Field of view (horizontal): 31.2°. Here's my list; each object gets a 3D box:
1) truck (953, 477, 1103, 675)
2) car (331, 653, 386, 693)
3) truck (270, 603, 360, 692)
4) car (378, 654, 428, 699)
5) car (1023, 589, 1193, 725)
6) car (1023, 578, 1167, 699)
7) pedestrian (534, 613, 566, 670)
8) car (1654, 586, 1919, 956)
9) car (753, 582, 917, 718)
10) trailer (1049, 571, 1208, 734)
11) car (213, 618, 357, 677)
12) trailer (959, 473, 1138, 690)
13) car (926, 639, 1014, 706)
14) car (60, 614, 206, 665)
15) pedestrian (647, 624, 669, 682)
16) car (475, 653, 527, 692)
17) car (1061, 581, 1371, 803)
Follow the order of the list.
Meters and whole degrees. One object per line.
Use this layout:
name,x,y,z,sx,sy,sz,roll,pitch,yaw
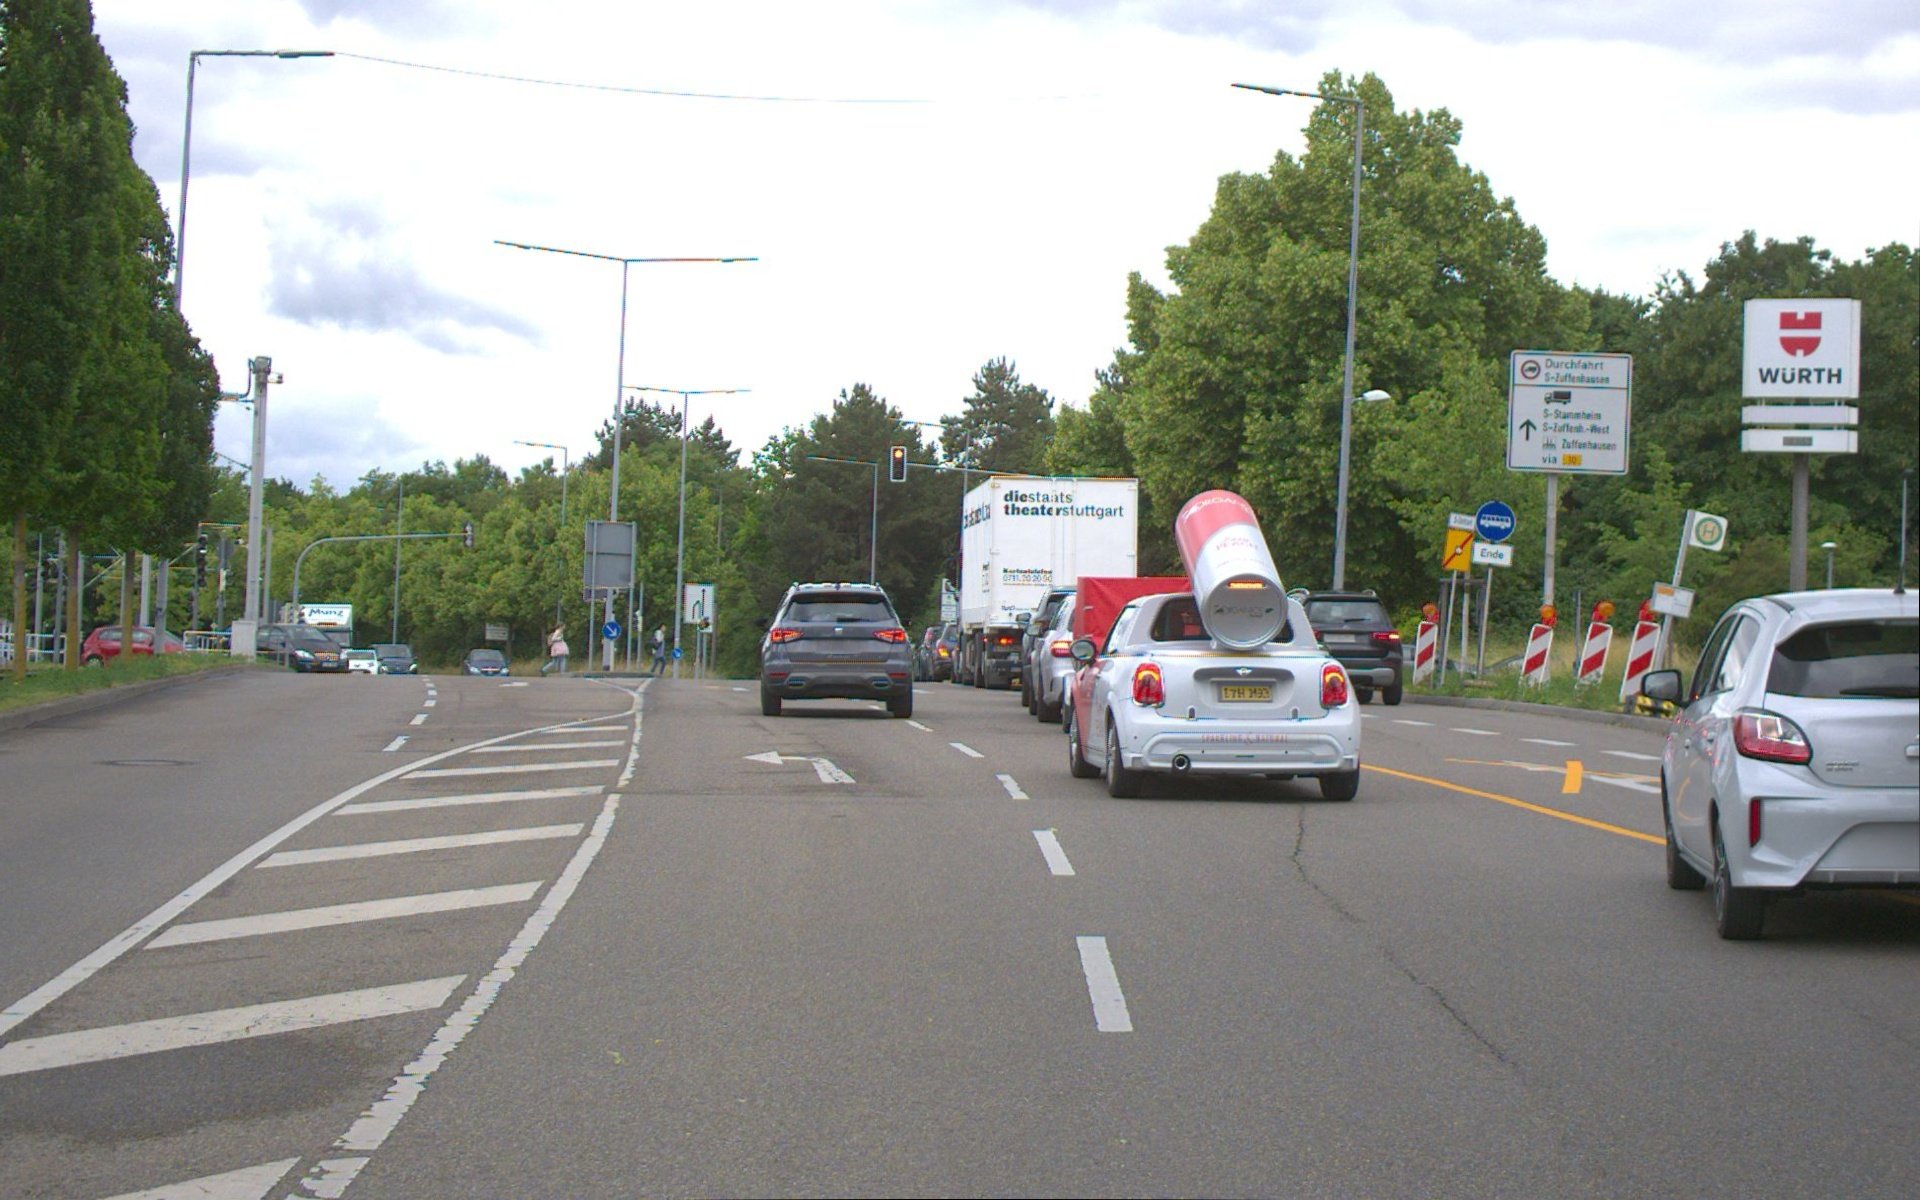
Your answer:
truck,1.279,-0.480,67.023,2.570,3.693,4.106,1,1,-3
car,-25.734,3.103,147.111,1.775,1.503,3.747,-2,1,-2
truck,-29.258,2.095,155.576,2.659,3.637,9.505,3,0,-18
car,-25.013,3.449,154.396,1.915,1.722,3.999,2,-5,-6
car,1.646,0.637,39.489,1.671,1.443,4.489,1,-1,-1
car,1.796,0.512,46.619,1.844,1.556,4.404,0,0,1
pedestrian,-11.344,1.143,95.170,0.863,1.555,0.518,1,1,-6
car,4.105,0.685,15.547,1.623,1.452,3.688,1,0,8
car,-1.506,0.549,40.170,1.698,1.481,4.001,1,0,-5
trailer,1.704,0.526,35.577,1.409,1.588,3.303,1,0,-1
car,-19.753,1.400,100.668,3.696,1.568,1.730,2,-2,8
trailer,1.532,-0.400,63.053,2.565,3.693,7.765,1,1,-3
car,0.197,1.589,76.358,1.812,1.349,4.118,-1,0,-1
car,-25.506,1.220,106.092,4.077,1.483,1.706,1,-2,20
pedestrian,-8.563,1.499,97.464,0.586,1.616,0.423,1,1,-6
car,-19.754,3.110,148.139,1.915,1.571,4.001,0,1,-3
car,1.767,0.632,24.791,1.718,1.452,3.697,1,-1,-4
